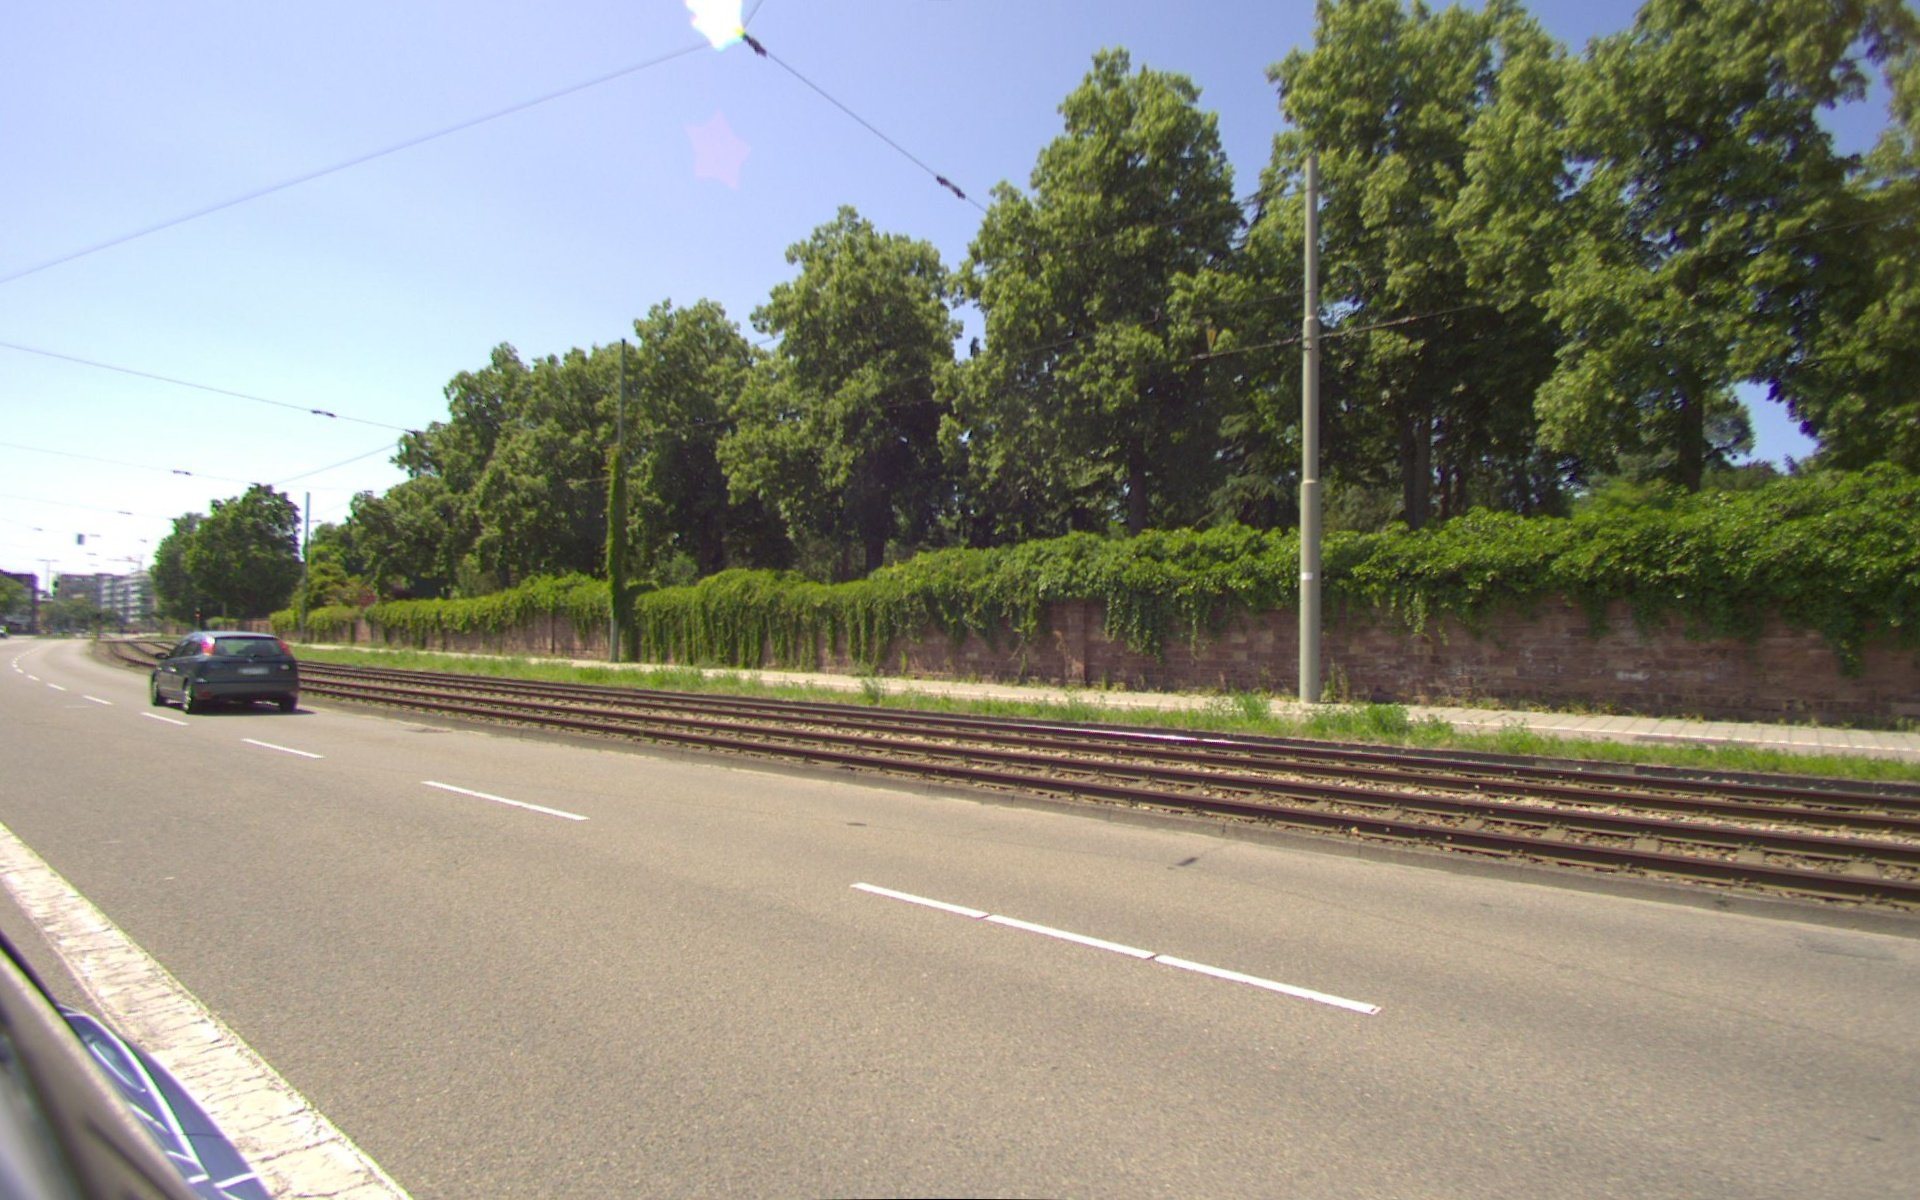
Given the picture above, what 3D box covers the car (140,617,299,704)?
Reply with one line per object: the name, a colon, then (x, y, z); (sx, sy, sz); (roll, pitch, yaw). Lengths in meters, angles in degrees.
car: (-14.200, 1.089, 19.327); (3.999, 1.480, 1.674); (-1, -2, 42)
